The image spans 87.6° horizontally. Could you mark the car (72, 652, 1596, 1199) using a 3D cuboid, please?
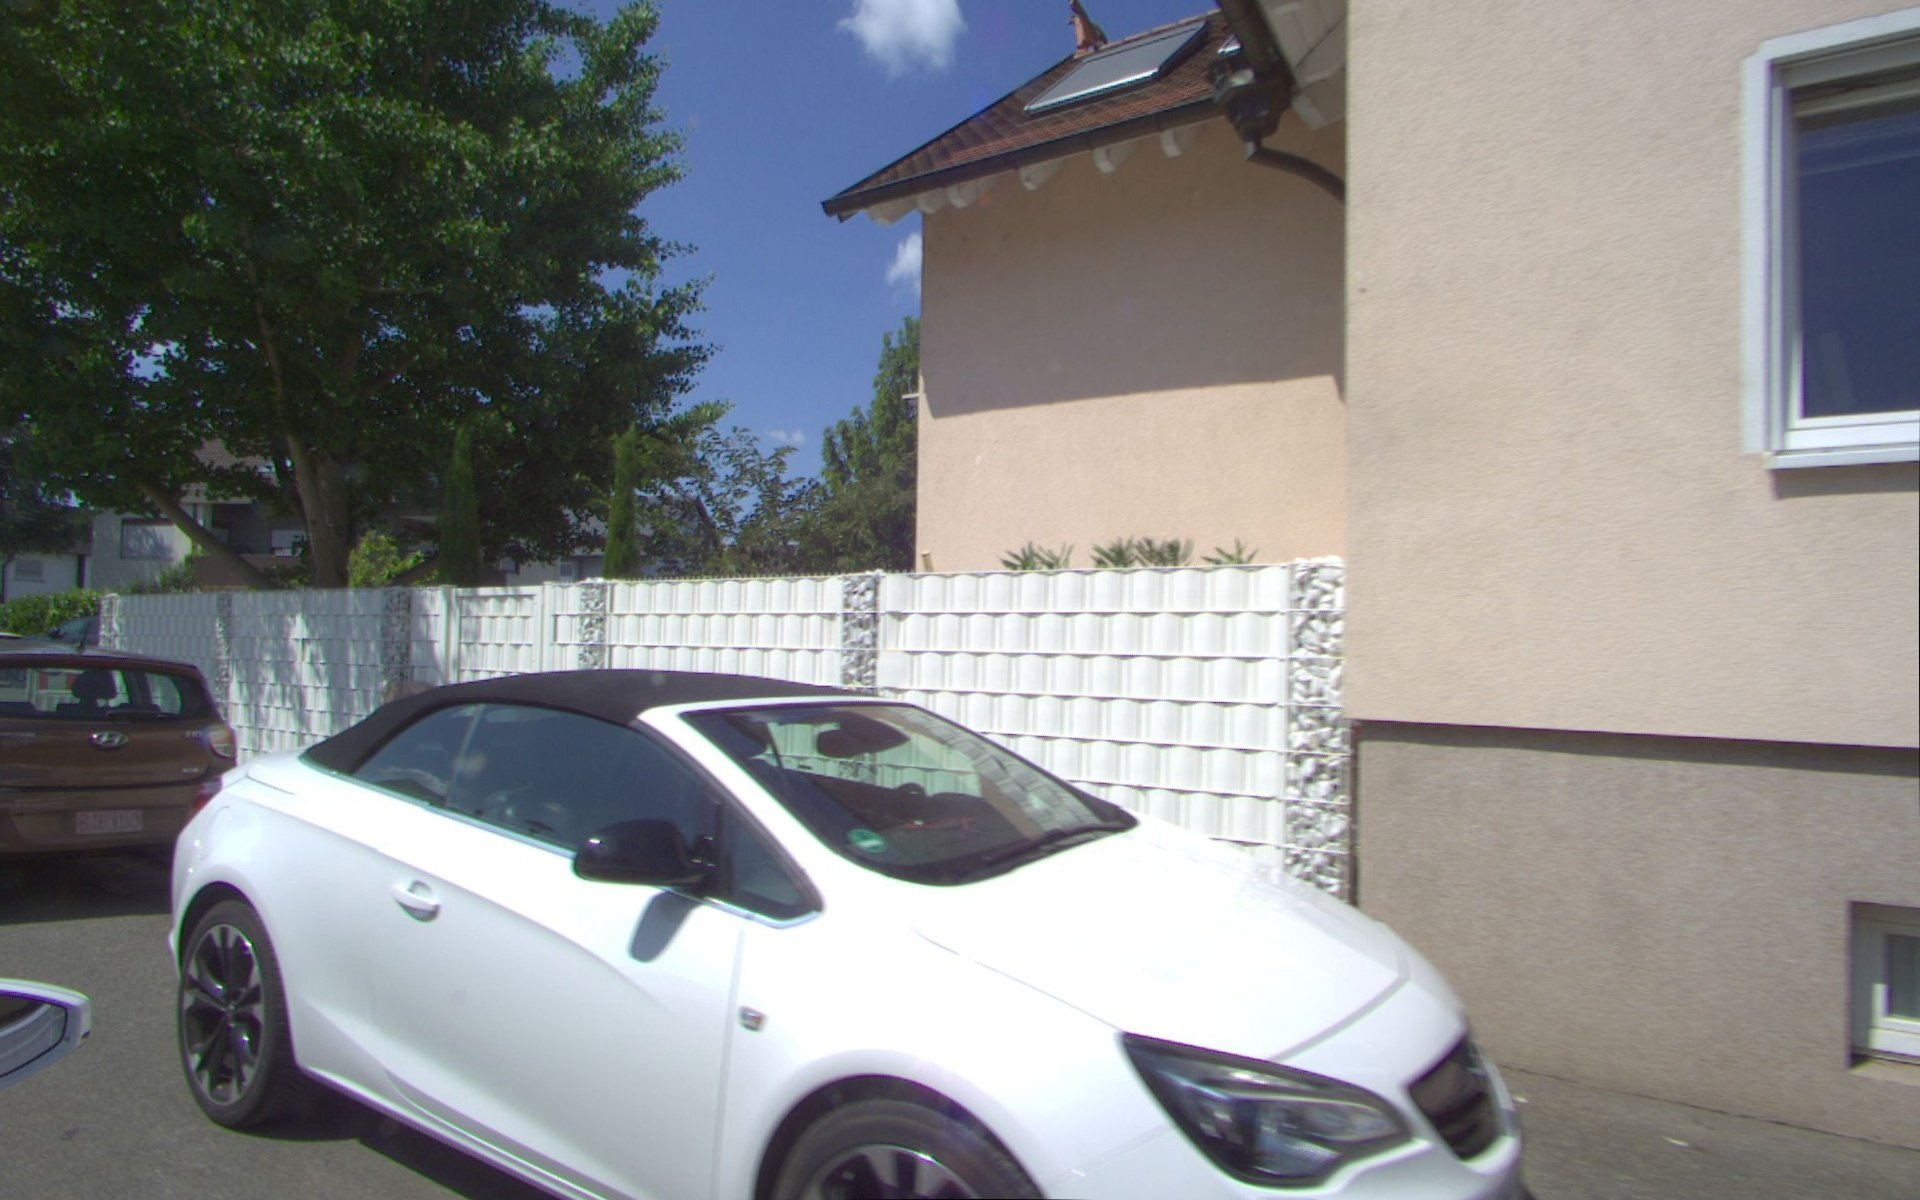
[{"bbox_3d":[-0.731,0.955,3.272,4.667,1.446,1.894,0,-3,31],"label":"car"}]

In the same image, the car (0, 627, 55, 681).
[{"bbox_3d":[-30.159,1.586,30.366,4.063,1.582,1.804,1,-3,8],"label":"car"}]

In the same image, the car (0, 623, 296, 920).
[{"bbox_3d":[-6.486,0.978,6.732,3.976,1.550,1.713,0,-6,31],"label":"car"}]

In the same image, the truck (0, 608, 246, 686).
[{"bbox_3d":[-24.164,1.352,28.886,5.602,2.038,2.373,1,-3,7],"label":"truck"}]
